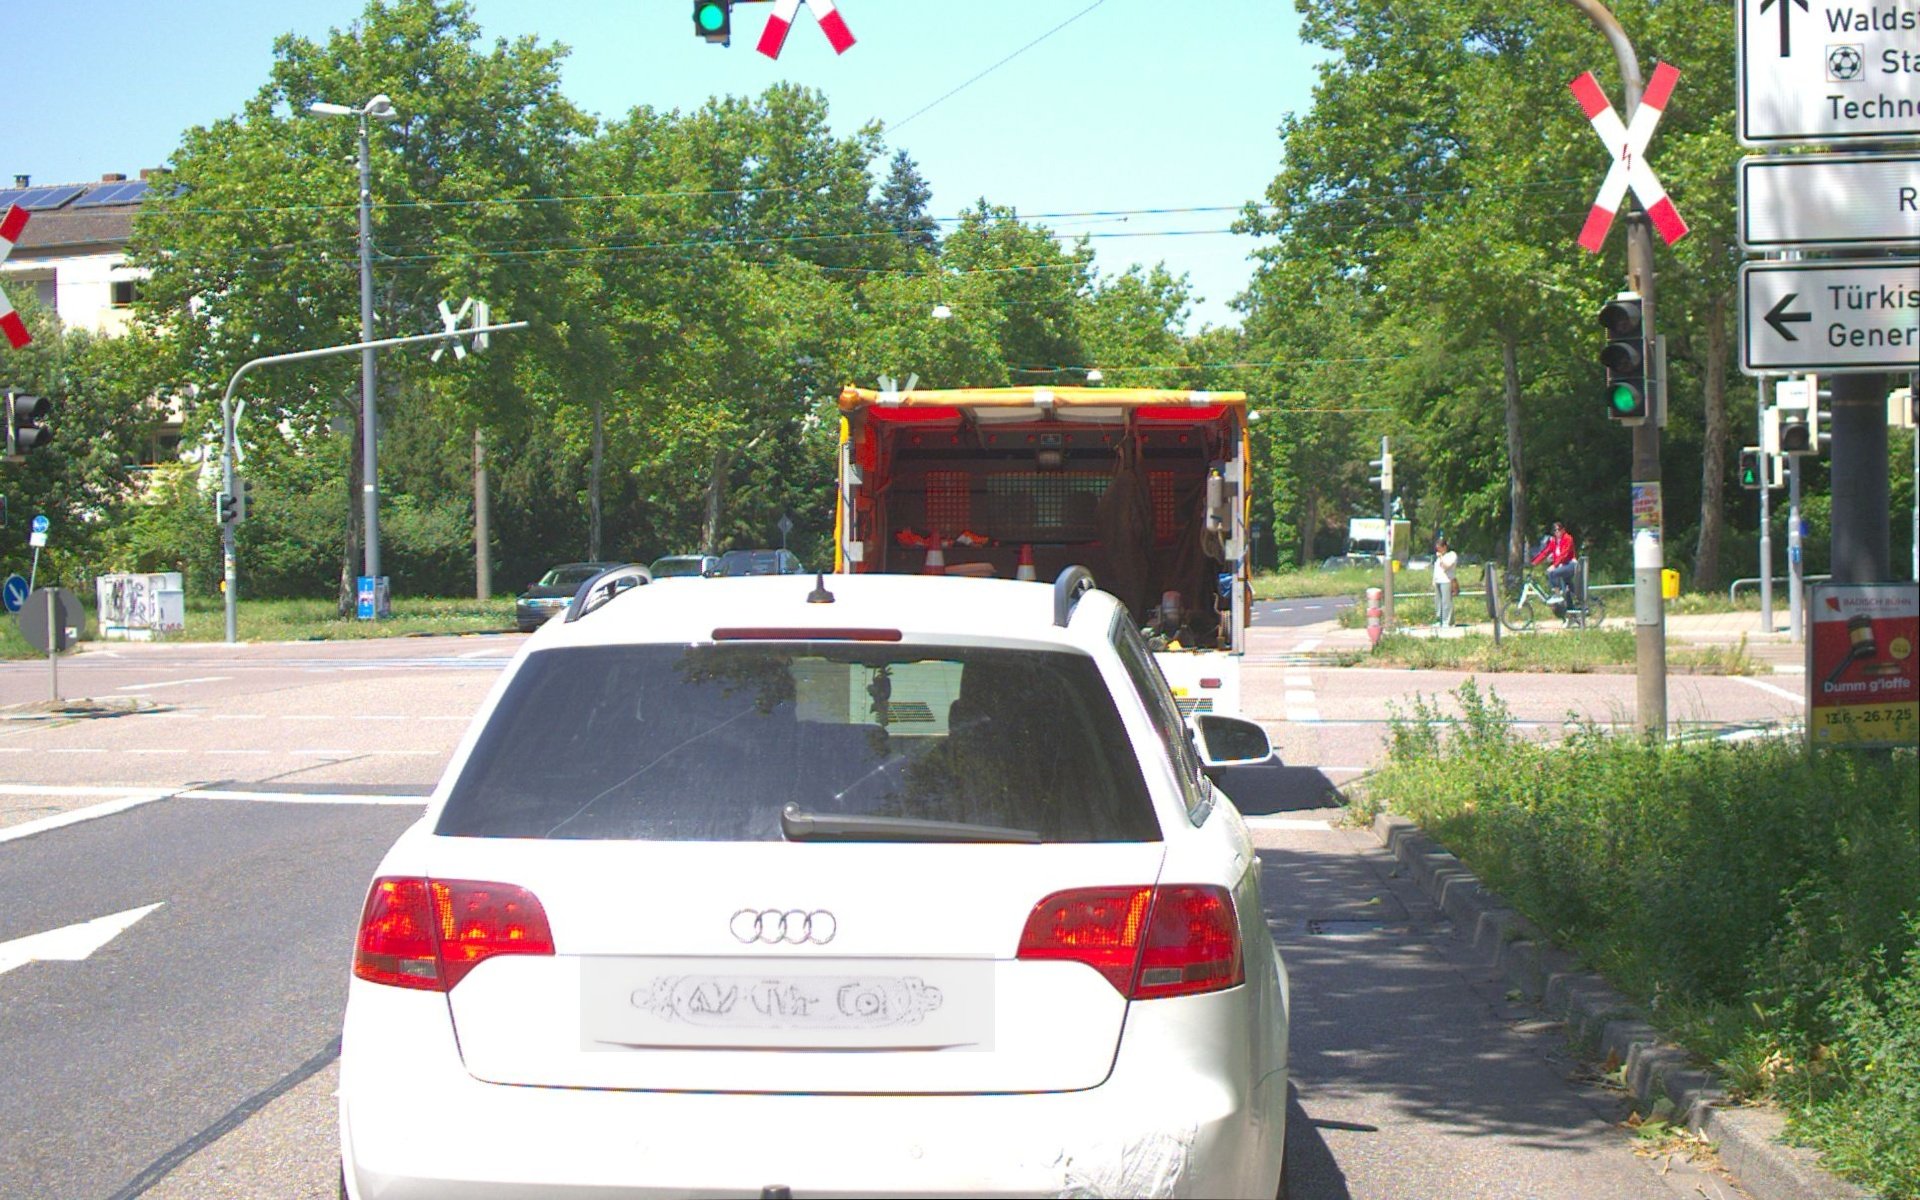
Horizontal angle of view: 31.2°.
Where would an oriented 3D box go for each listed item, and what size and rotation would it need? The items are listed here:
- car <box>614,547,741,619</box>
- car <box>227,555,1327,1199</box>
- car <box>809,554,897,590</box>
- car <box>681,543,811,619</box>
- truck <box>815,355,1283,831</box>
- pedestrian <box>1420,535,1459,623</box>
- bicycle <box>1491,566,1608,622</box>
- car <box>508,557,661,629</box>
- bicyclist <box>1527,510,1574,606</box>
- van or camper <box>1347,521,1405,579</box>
[{"bbox_3d":[-6.600,-0.418,80.732,1.788,1.609,4.402,-1,1,12],"label":"car"},{"bbox_3d":[-0.189,0.640,7.293,1.763,1.440,3.615,0,1,4],"label":"car"},{"bbox_3d":[-4.305,-1.149,139.203,1.884,1.388,3.994,0,1,26],"label":"car"},{"bbox_3d":[-4.578,-0.430,74.115,1.909,1.533,4.297,-1,1,8],"label":"car"},{"bbox_3d":[0.650,-0.082,22.489,2.511,2.551,7.603,1,1,3],"label":"truck"},{"bbox_3d":[8.139,-0.351,58.325,0.553,1.479,0.629,-1,1,16],"label":"pedestrian"},{"bbox_3d":[9.572,-0.098,55.864,1.805,0.892,0.589,-1,1,2],"label":"bicycle"},{"bbox_3d":[-7.989,-0.173,73.563,1.950,1.435,4.744,0,1,11],"label":"car"},{"bbox_3d":[9.592,-0.683,55.853,0.671,1.551,0.579,-1,1,2],"label":"bicyclist"},{"bbox_3d":[24.351,-2.946,201.188,2.662,3.320,5.497,0,1,14],"label":"van or camper"}]
